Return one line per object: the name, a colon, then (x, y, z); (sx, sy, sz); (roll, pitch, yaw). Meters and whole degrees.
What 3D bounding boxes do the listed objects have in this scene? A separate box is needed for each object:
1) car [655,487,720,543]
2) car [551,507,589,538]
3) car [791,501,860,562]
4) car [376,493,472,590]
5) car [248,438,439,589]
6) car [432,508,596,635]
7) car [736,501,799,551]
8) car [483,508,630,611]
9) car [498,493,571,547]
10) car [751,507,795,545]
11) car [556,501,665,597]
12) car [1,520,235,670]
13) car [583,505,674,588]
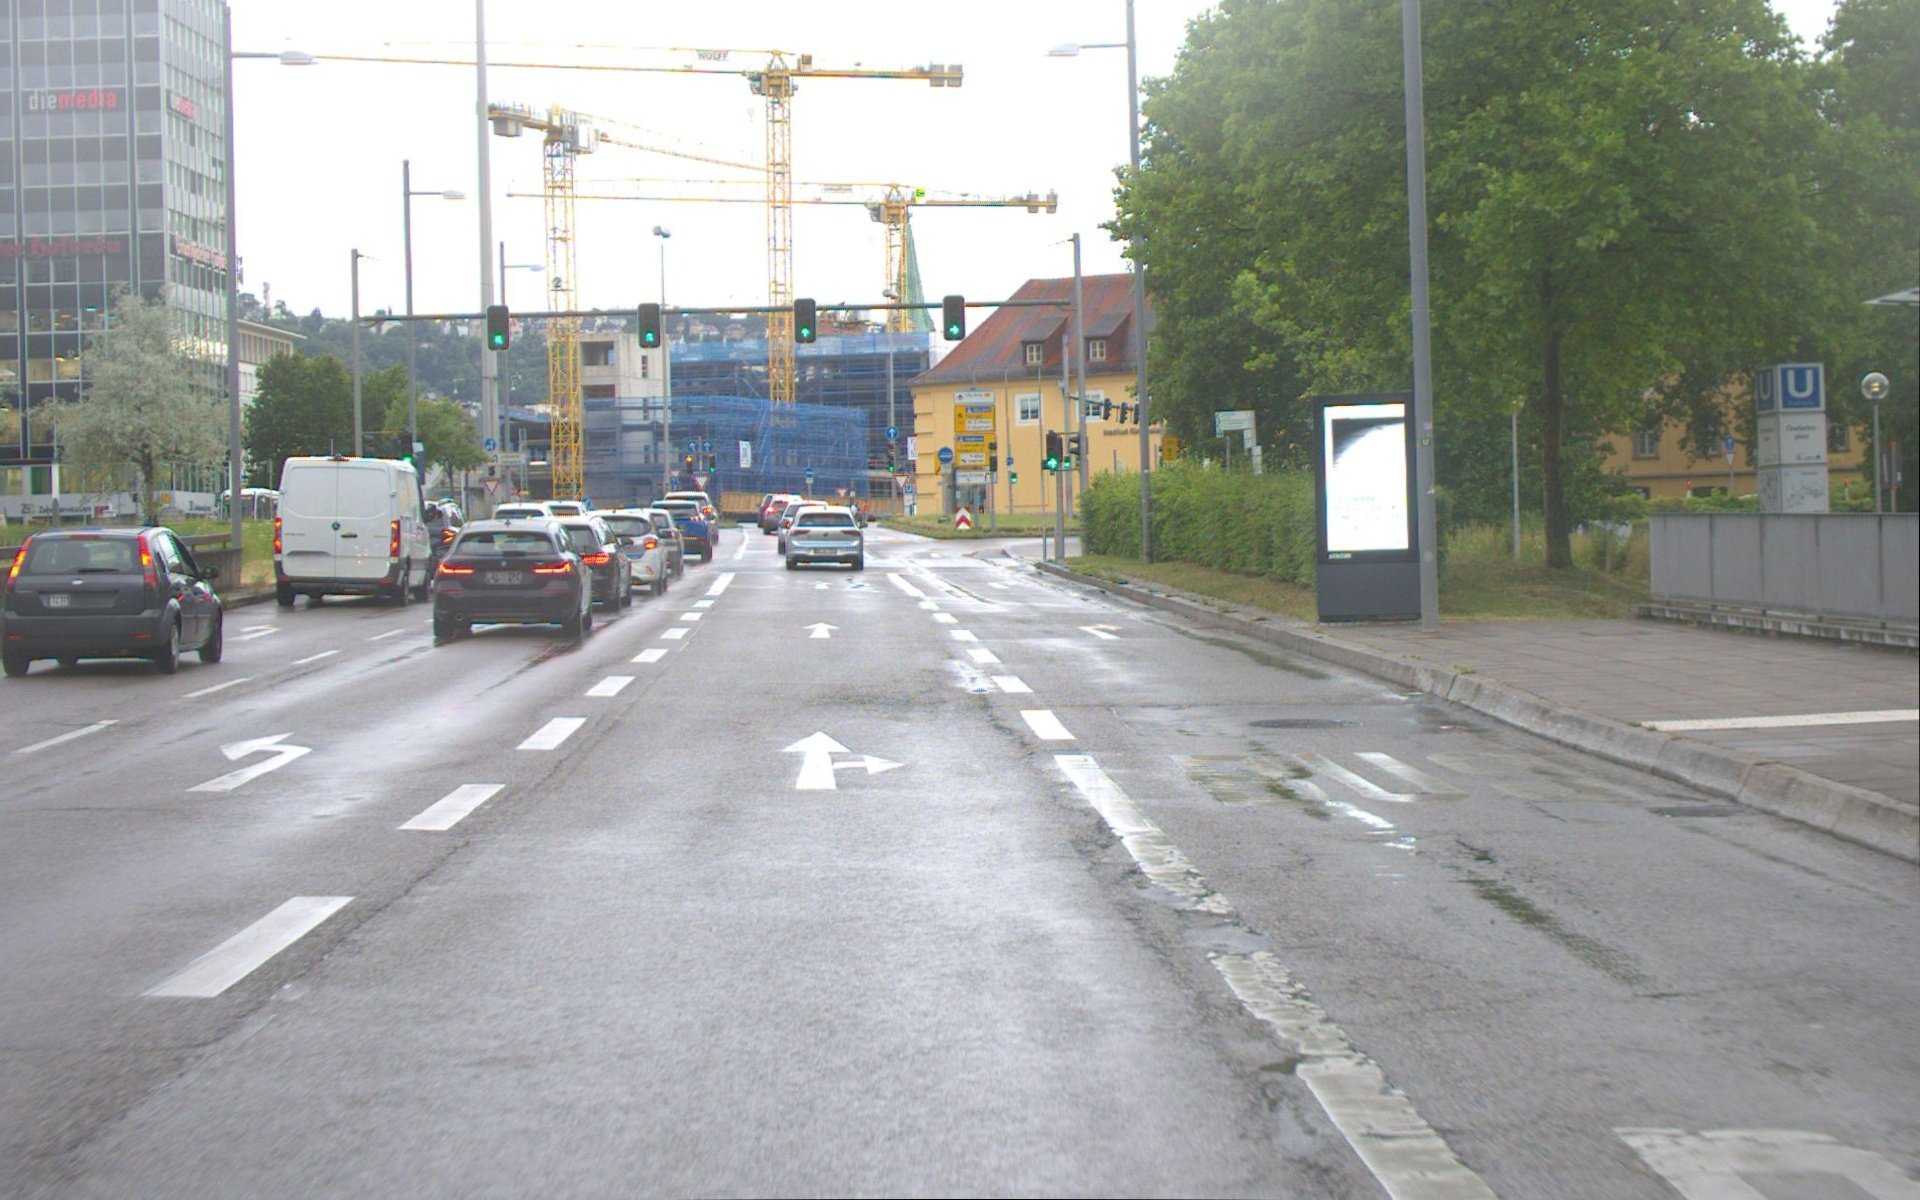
car: (-6.815, -2.118, 86.172); (1.493, 1.365, 3.033); (0, 0, -3)
car: (-11.401, -2.258, 100.446); (1.032, 0.881, 1.844); (0, 0, -4)
car: (-3.039, -1.554, 78.198); (1.444, 1.354, 2.412); (0, 0, 1)
car: (-9.639, -1.044, 62.002); (1.464, 1.700, 3.142); (0, 0, -4)
car: (-9.792, -1.337, 55.030); (2.292, 2.306, 5.006); (0, 0, -2)
car: (-5.538, -0.395, 43.078); (1.753, 1.466, 4.223); (0, 2, -3)
car: (-7.417, -2.863, 132.915); (2.161, 1.873, 3.770); (0, 0, 1)
car: (-6.029, -0.604, 51.710); (1.830, 1.489, 3.399); (0, 0, 0)
car: (-10.337, -1.938, 83.561); (1.551, 1.256, 2.581); (0, 0, -2)
car: (-5.132, -2.029, 94.627); (1.076, 0.987, 1.971); (0, 0, 1)
car: (-6.200, -0.896, 61.255); (1.880, 1.647, 3.458); (0, 0, -5)
car: (-8.340, -0.064, 34.313); (1.542, 1.410, 3.902); (0, 0, -3)
car: (-7.033, -1.113, 73.150); (1.716, 1.721, 3.495); (0, 0, -2)
